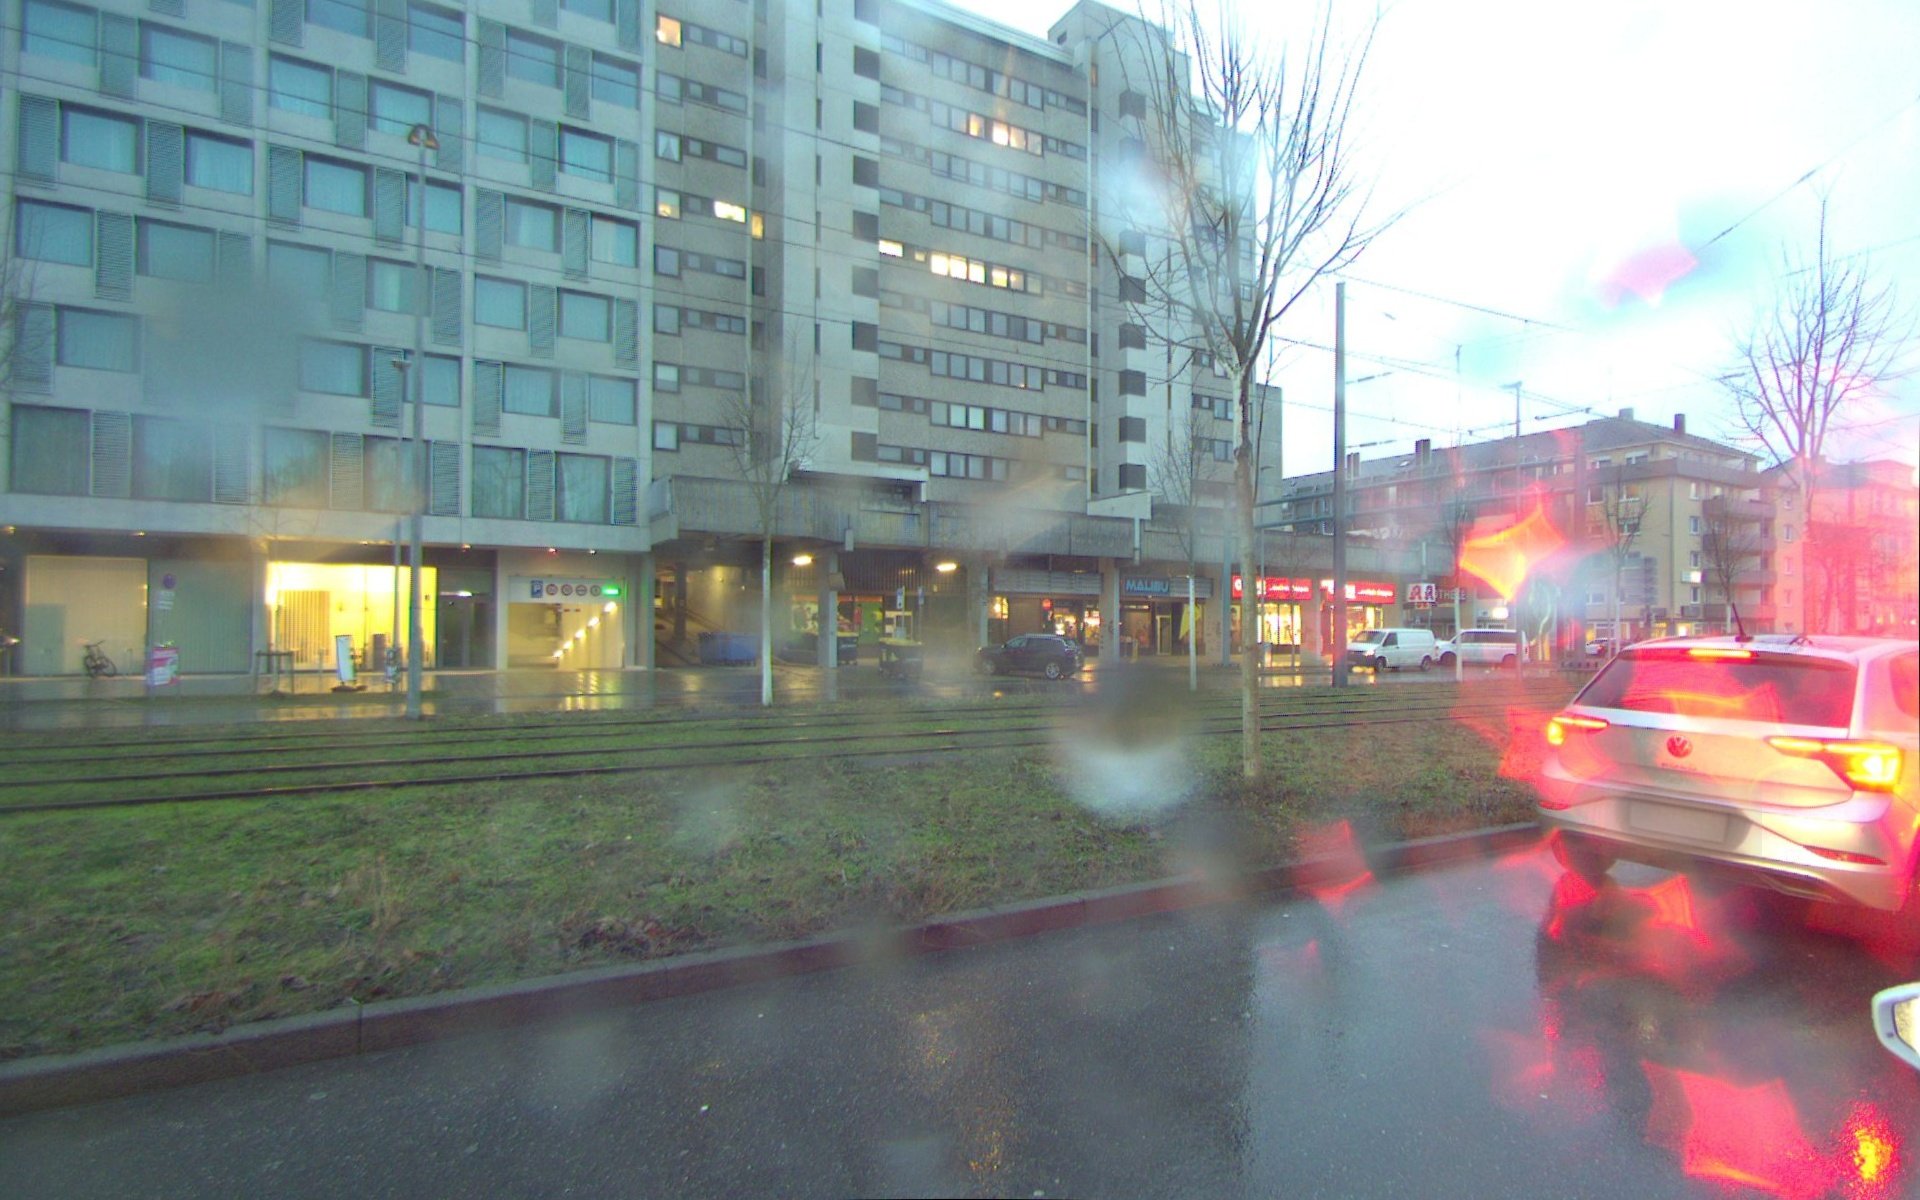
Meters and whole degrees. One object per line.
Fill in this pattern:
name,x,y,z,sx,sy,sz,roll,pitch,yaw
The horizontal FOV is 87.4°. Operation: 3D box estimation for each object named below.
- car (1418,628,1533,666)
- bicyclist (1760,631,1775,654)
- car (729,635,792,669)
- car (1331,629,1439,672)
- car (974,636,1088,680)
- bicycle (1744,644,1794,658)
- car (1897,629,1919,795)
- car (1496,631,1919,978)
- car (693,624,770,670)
car,27.072,2.439,52.900,5.059,1.937,2.001,0,-2,15
bicyclist,57.202,2.972,71.140,0.778,1.600,0.635,1,0,36
car,-8.736,2.244,43.767,1.580,1.377,3.411,1,-2,-32
car,19.984,2.335,47.151,5.101,1.937,1.985,1,-2,-29
car,2.719,2.187,38.485,3.925,1.405,1.935,2,0,25
bicycle,57.244,3.600,71.101,2.734,0.834,0.635,1,-1,37
car,10.602,1.021,9.177,4.562,1.424,1.837,2,-1,-31
car,5.162,0.923,5.957,3.936,1.389,1.753,2,-1,-31
car,-9.187,1.829,40.171,1.709,1.718,4.336,1,-2,-32
